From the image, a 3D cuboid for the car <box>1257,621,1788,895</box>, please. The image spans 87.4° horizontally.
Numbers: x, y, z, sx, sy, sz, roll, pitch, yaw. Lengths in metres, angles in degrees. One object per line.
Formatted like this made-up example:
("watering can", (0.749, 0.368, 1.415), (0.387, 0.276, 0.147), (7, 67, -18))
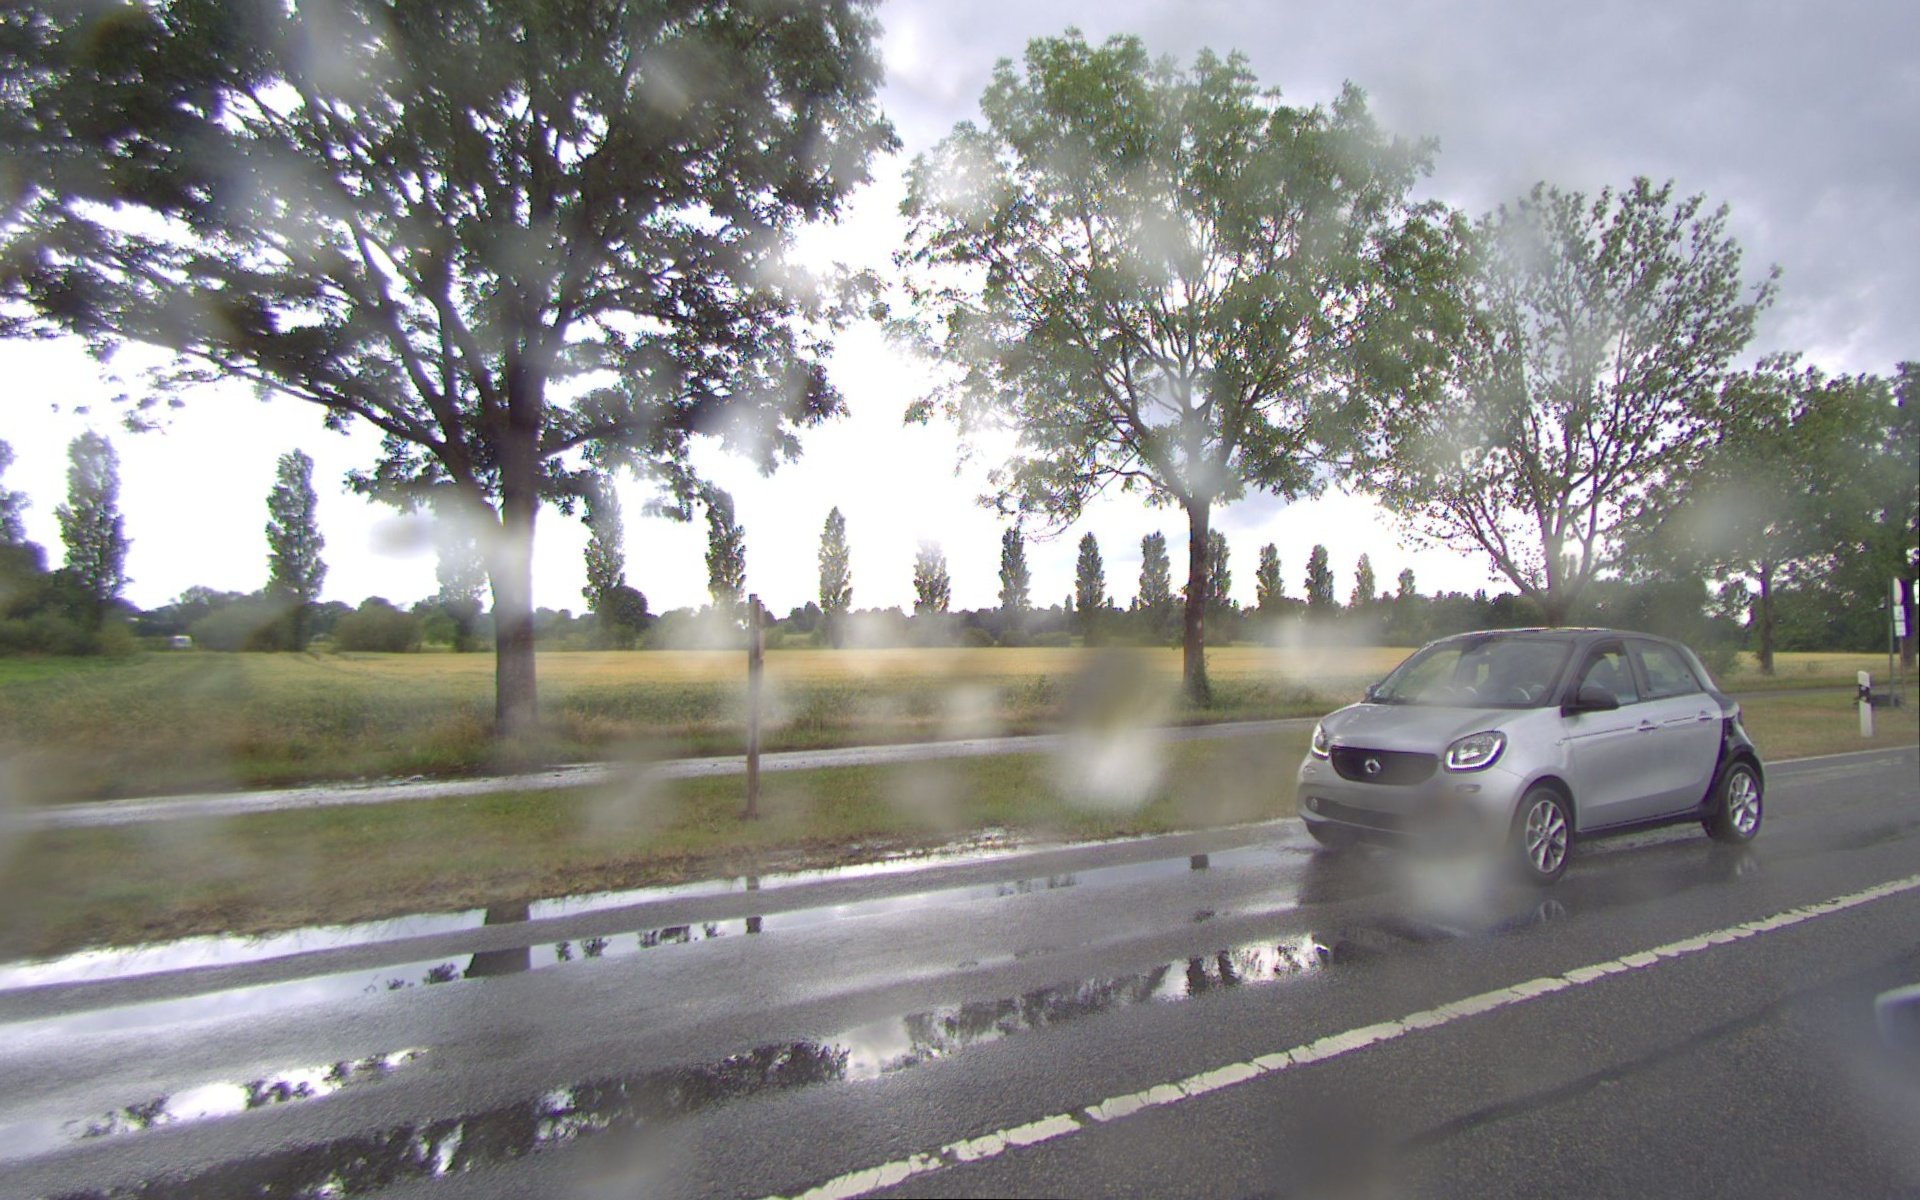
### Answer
("car", (4.114, 0.967, 7.269), (3.690, 1.517, 1.669), (1, -4, -30))
